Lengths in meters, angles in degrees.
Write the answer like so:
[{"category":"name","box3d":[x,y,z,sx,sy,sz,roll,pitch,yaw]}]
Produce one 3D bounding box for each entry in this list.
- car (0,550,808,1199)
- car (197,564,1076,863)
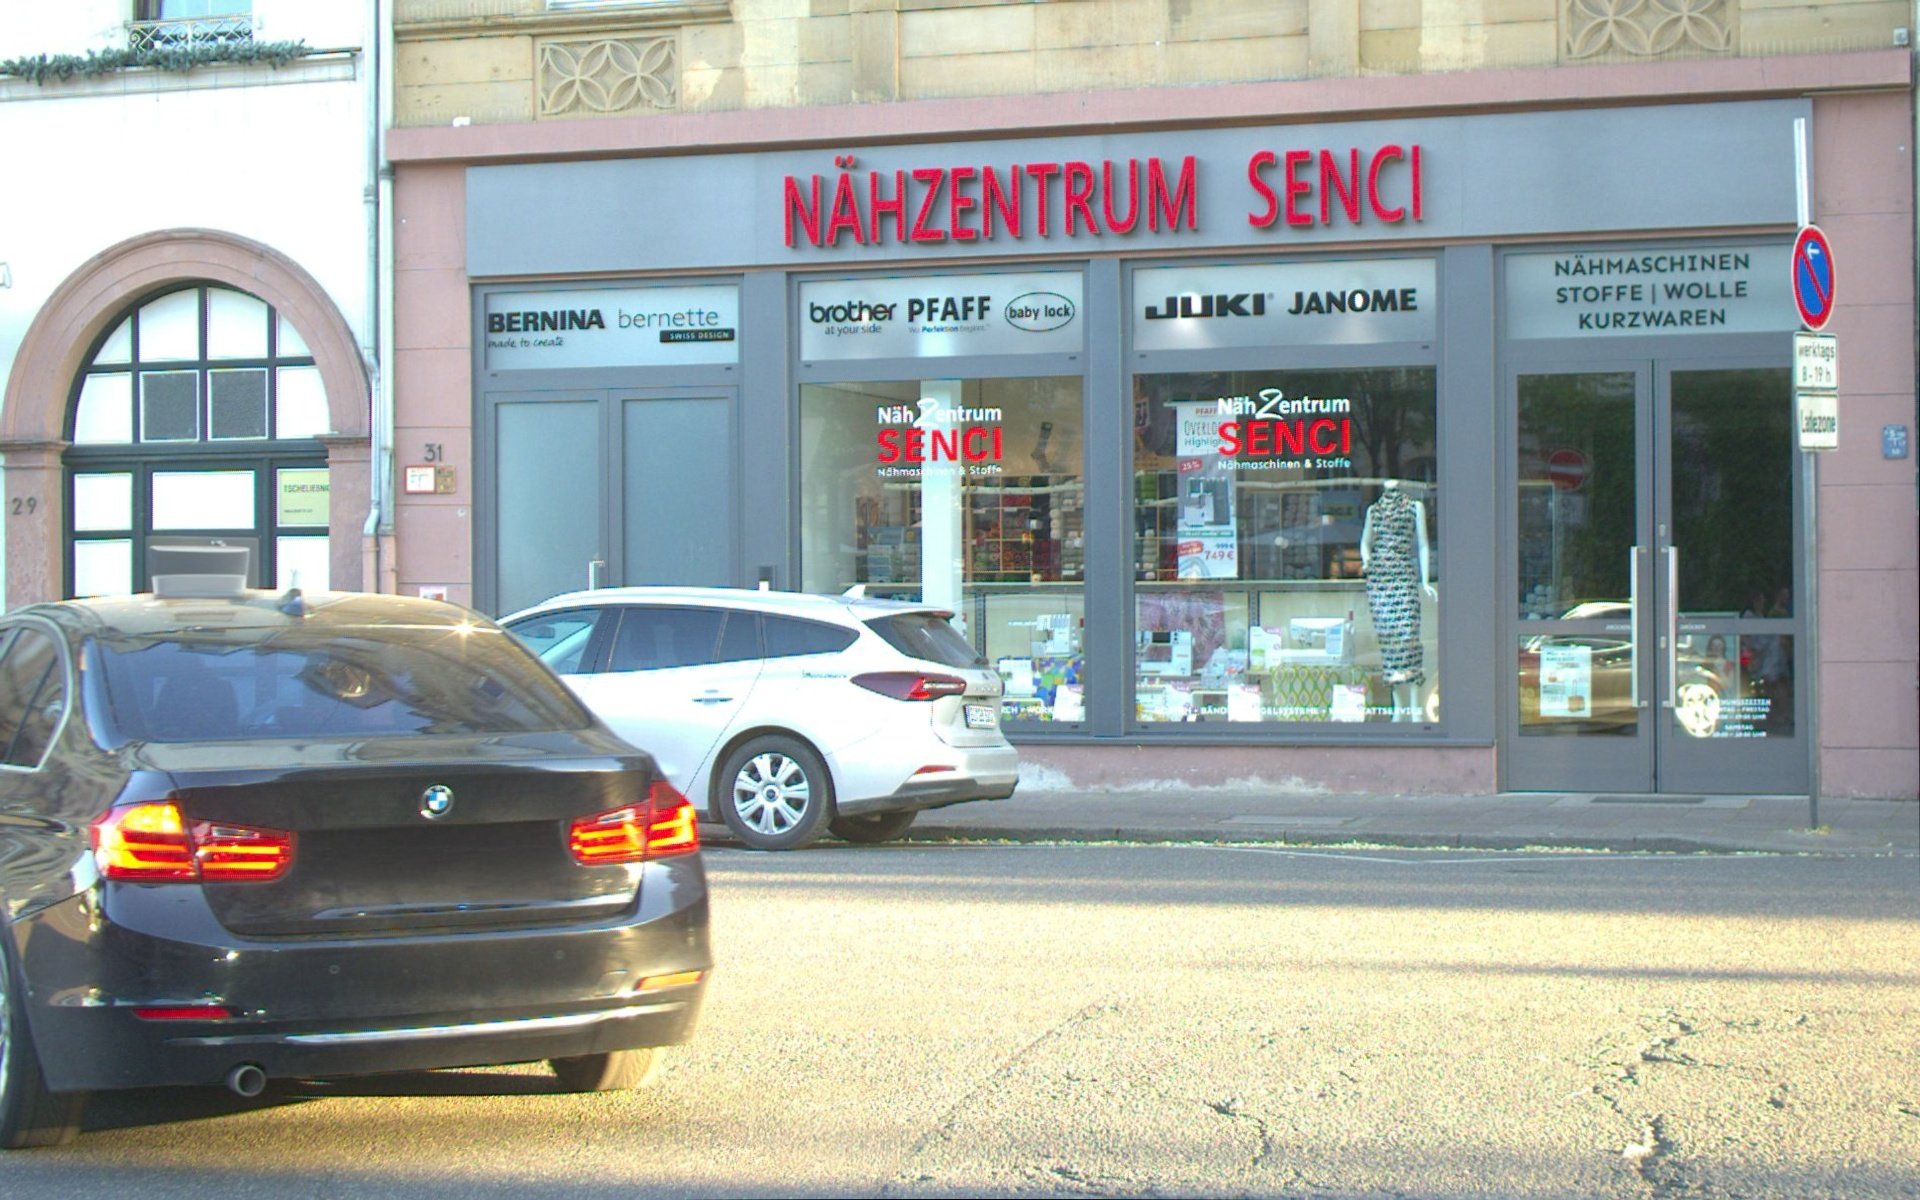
[{"category":"car","box3d":[-2.170,0.651,10.056,1.888,1.487,4.205,0,-1,-27]},{"category":"car","box3d":[-1.854,0.600,20.030,4.670,1.530,1.998,1,0,18]}]
